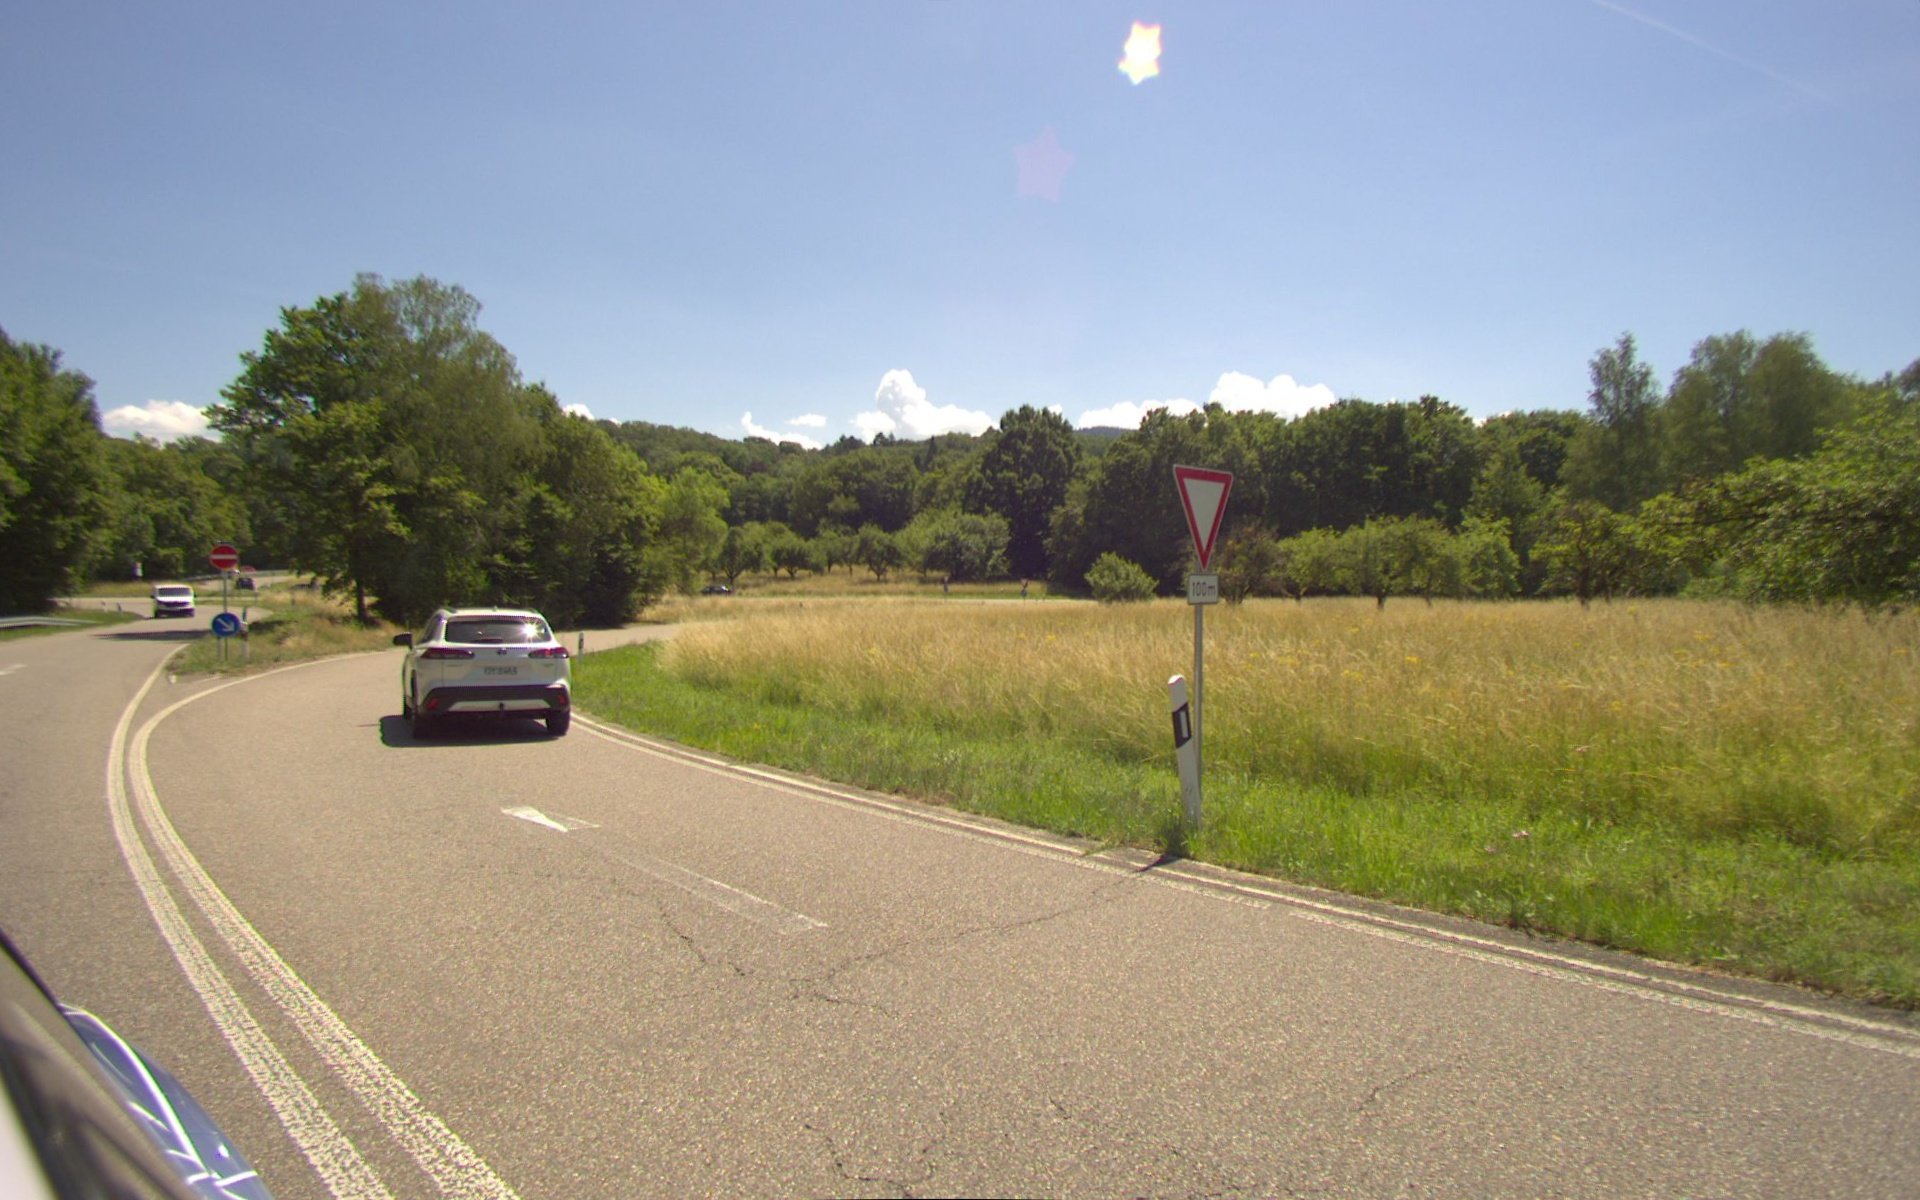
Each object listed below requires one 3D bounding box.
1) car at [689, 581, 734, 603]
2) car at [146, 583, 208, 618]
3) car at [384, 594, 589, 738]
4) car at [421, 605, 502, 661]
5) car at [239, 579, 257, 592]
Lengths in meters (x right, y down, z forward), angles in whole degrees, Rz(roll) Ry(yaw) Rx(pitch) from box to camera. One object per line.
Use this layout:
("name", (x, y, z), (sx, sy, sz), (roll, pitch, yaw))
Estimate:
("car", (-24.133, -0.778, 98.348), (3.941, 2.028, 2.001), (1, 2, -2))
("car", (-48.690, 0.013, 63.061), (2.188, 2.048, 5.444), (-2, 1, -29))
("car", (-6.449, 0.781, 13.513), (1.797, 1.602, 4.229), (4, -2, -33))
("car", (-14.665, 0.946, 29.969), (1.777, 1.518, 4.673), (2, -1, -22))
("car", (-80.024, -1.668, 113.722), (1.448, 1.337, 2.967), (-1, 3, -40))
